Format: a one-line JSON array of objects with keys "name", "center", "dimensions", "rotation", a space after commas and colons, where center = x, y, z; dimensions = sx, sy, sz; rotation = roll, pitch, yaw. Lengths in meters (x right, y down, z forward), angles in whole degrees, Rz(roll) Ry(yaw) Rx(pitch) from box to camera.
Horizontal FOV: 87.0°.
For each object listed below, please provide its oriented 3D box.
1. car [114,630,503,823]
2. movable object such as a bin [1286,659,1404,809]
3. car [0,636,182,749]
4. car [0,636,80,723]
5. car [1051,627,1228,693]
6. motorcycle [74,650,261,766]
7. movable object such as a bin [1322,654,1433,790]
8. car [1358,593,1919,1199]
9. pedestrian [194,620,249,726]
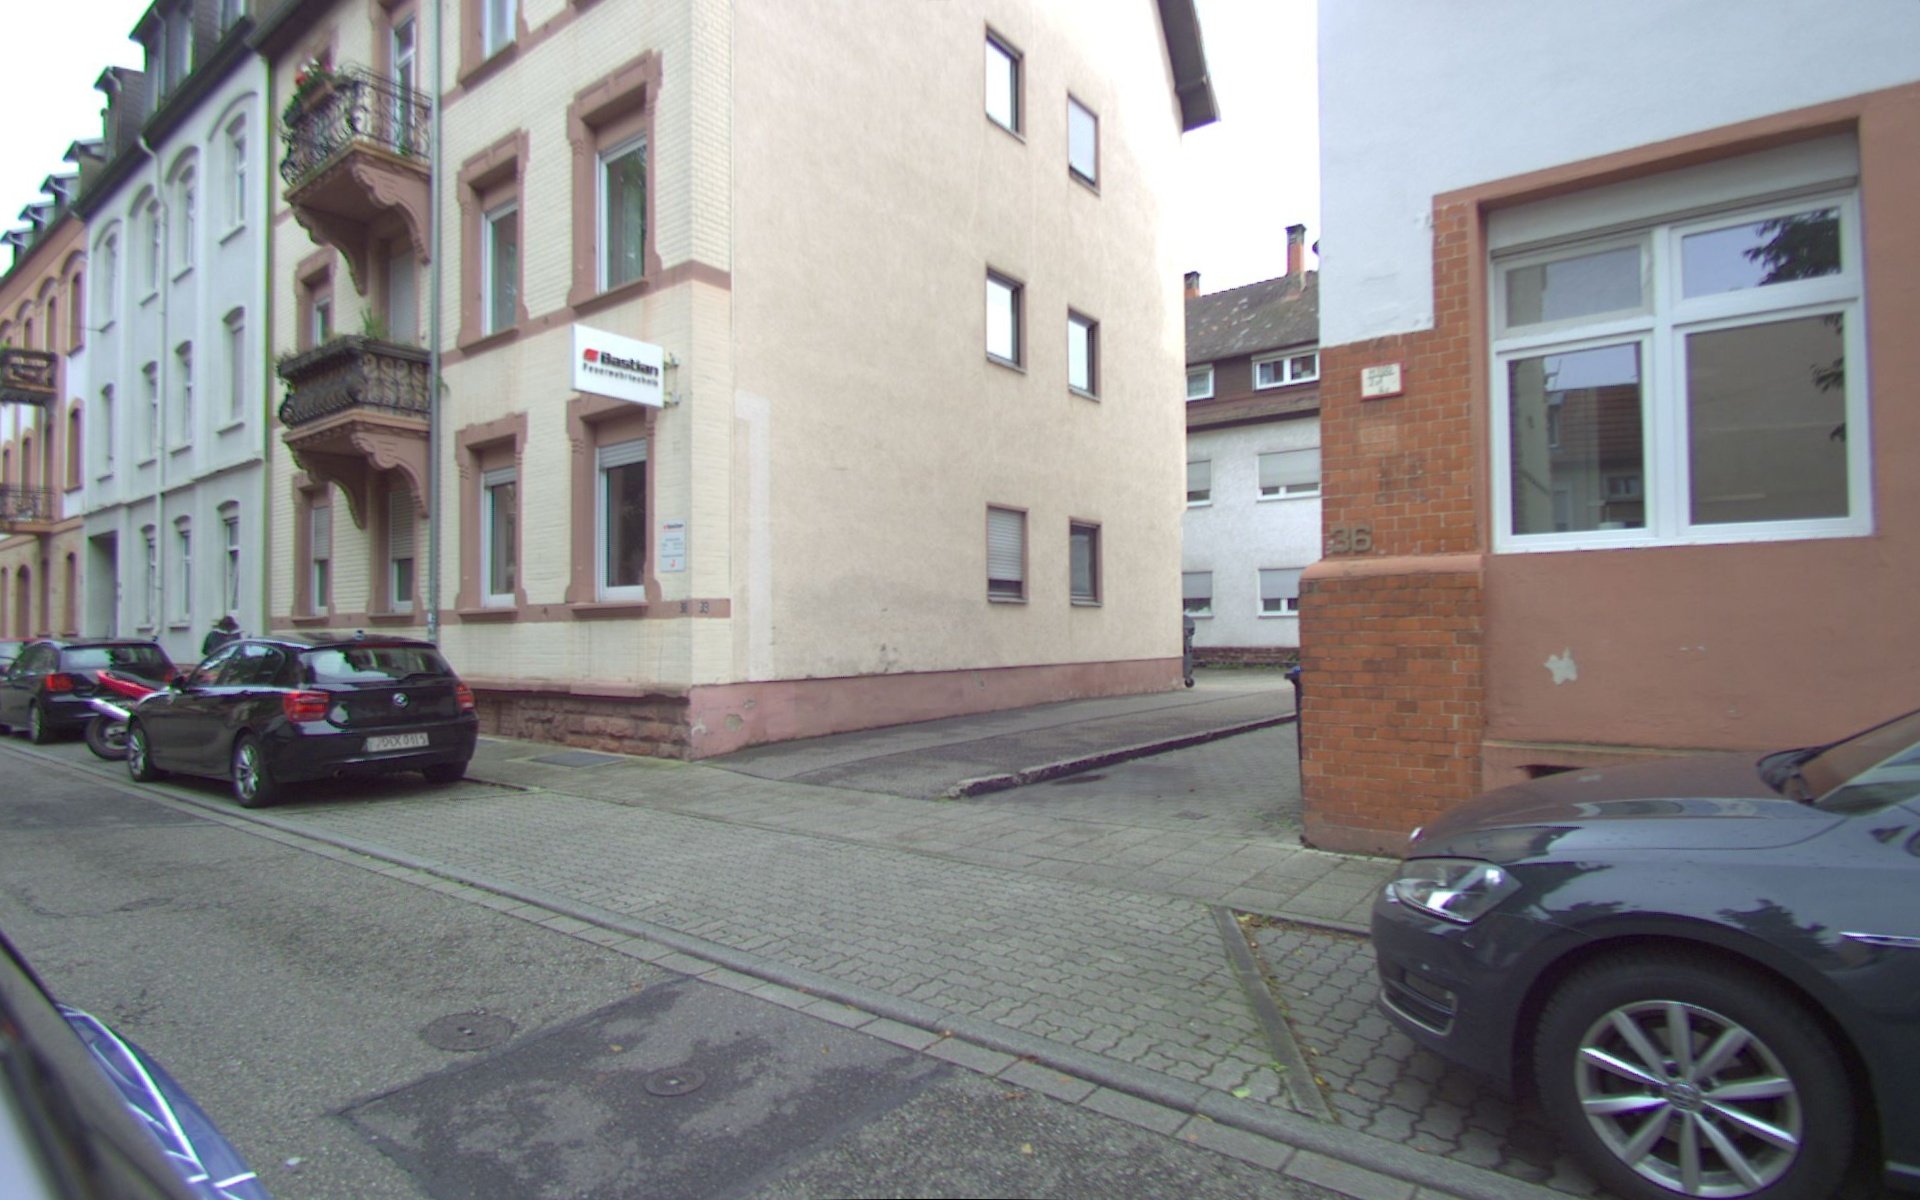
[{"name": "car", "center": [-6.223, 1.029, 9.521], "dimensions": [3.994, 1.401, 1.882], "rotation": [-2, -2, 38]}, {"name": "movable object such as a bin", "center": [2.983, 1.003, 7.833], "dimensions": [0.646, 1.060, 0.683], "rotation": [-3, -2, 39]}, {"name": "car", "center": [-12.831, 1.262, 14.679], "dimensions": [3.467, 1.393, 1.640], "rotation": [-2, -1, 38]}, {"name": "car", "center": [-17.608, 1.413, 18.530], "dimensions": [3.337, 1.483, 1.591], "rotation": [-2, -3, 37]}, {"name": "car", "center": [3.679, 1.192, 21.036], "dimensions": [3.348, 1.190, 1.472], "rotation": [-1, 0, 41]}, {"name": "motorcycle", "center": [-9.206, 1.224, 11.841], "dimensions": [1.685, 1.235, 0.487], "rotation": [0, -2, -34]}, {"name": "movable object such as a bin", "center": [3.515, 0.995, 8.525], "dimensions": [0.678, 1.060, 0.658], "rotation": [-3, -2, 39]}, {"name": "car", "center": [3.062, 0.669, 2.062], "dimensions": [3.912, 1.427, 1.451], "rotation": [-3, -1, 38]}, {"name": "pedestrian", "center": [-11.639, 1.137, 15.945], "dimensions": [0.543, 1.621, 0.571], "rotation": [-2, -2, 37]}]
